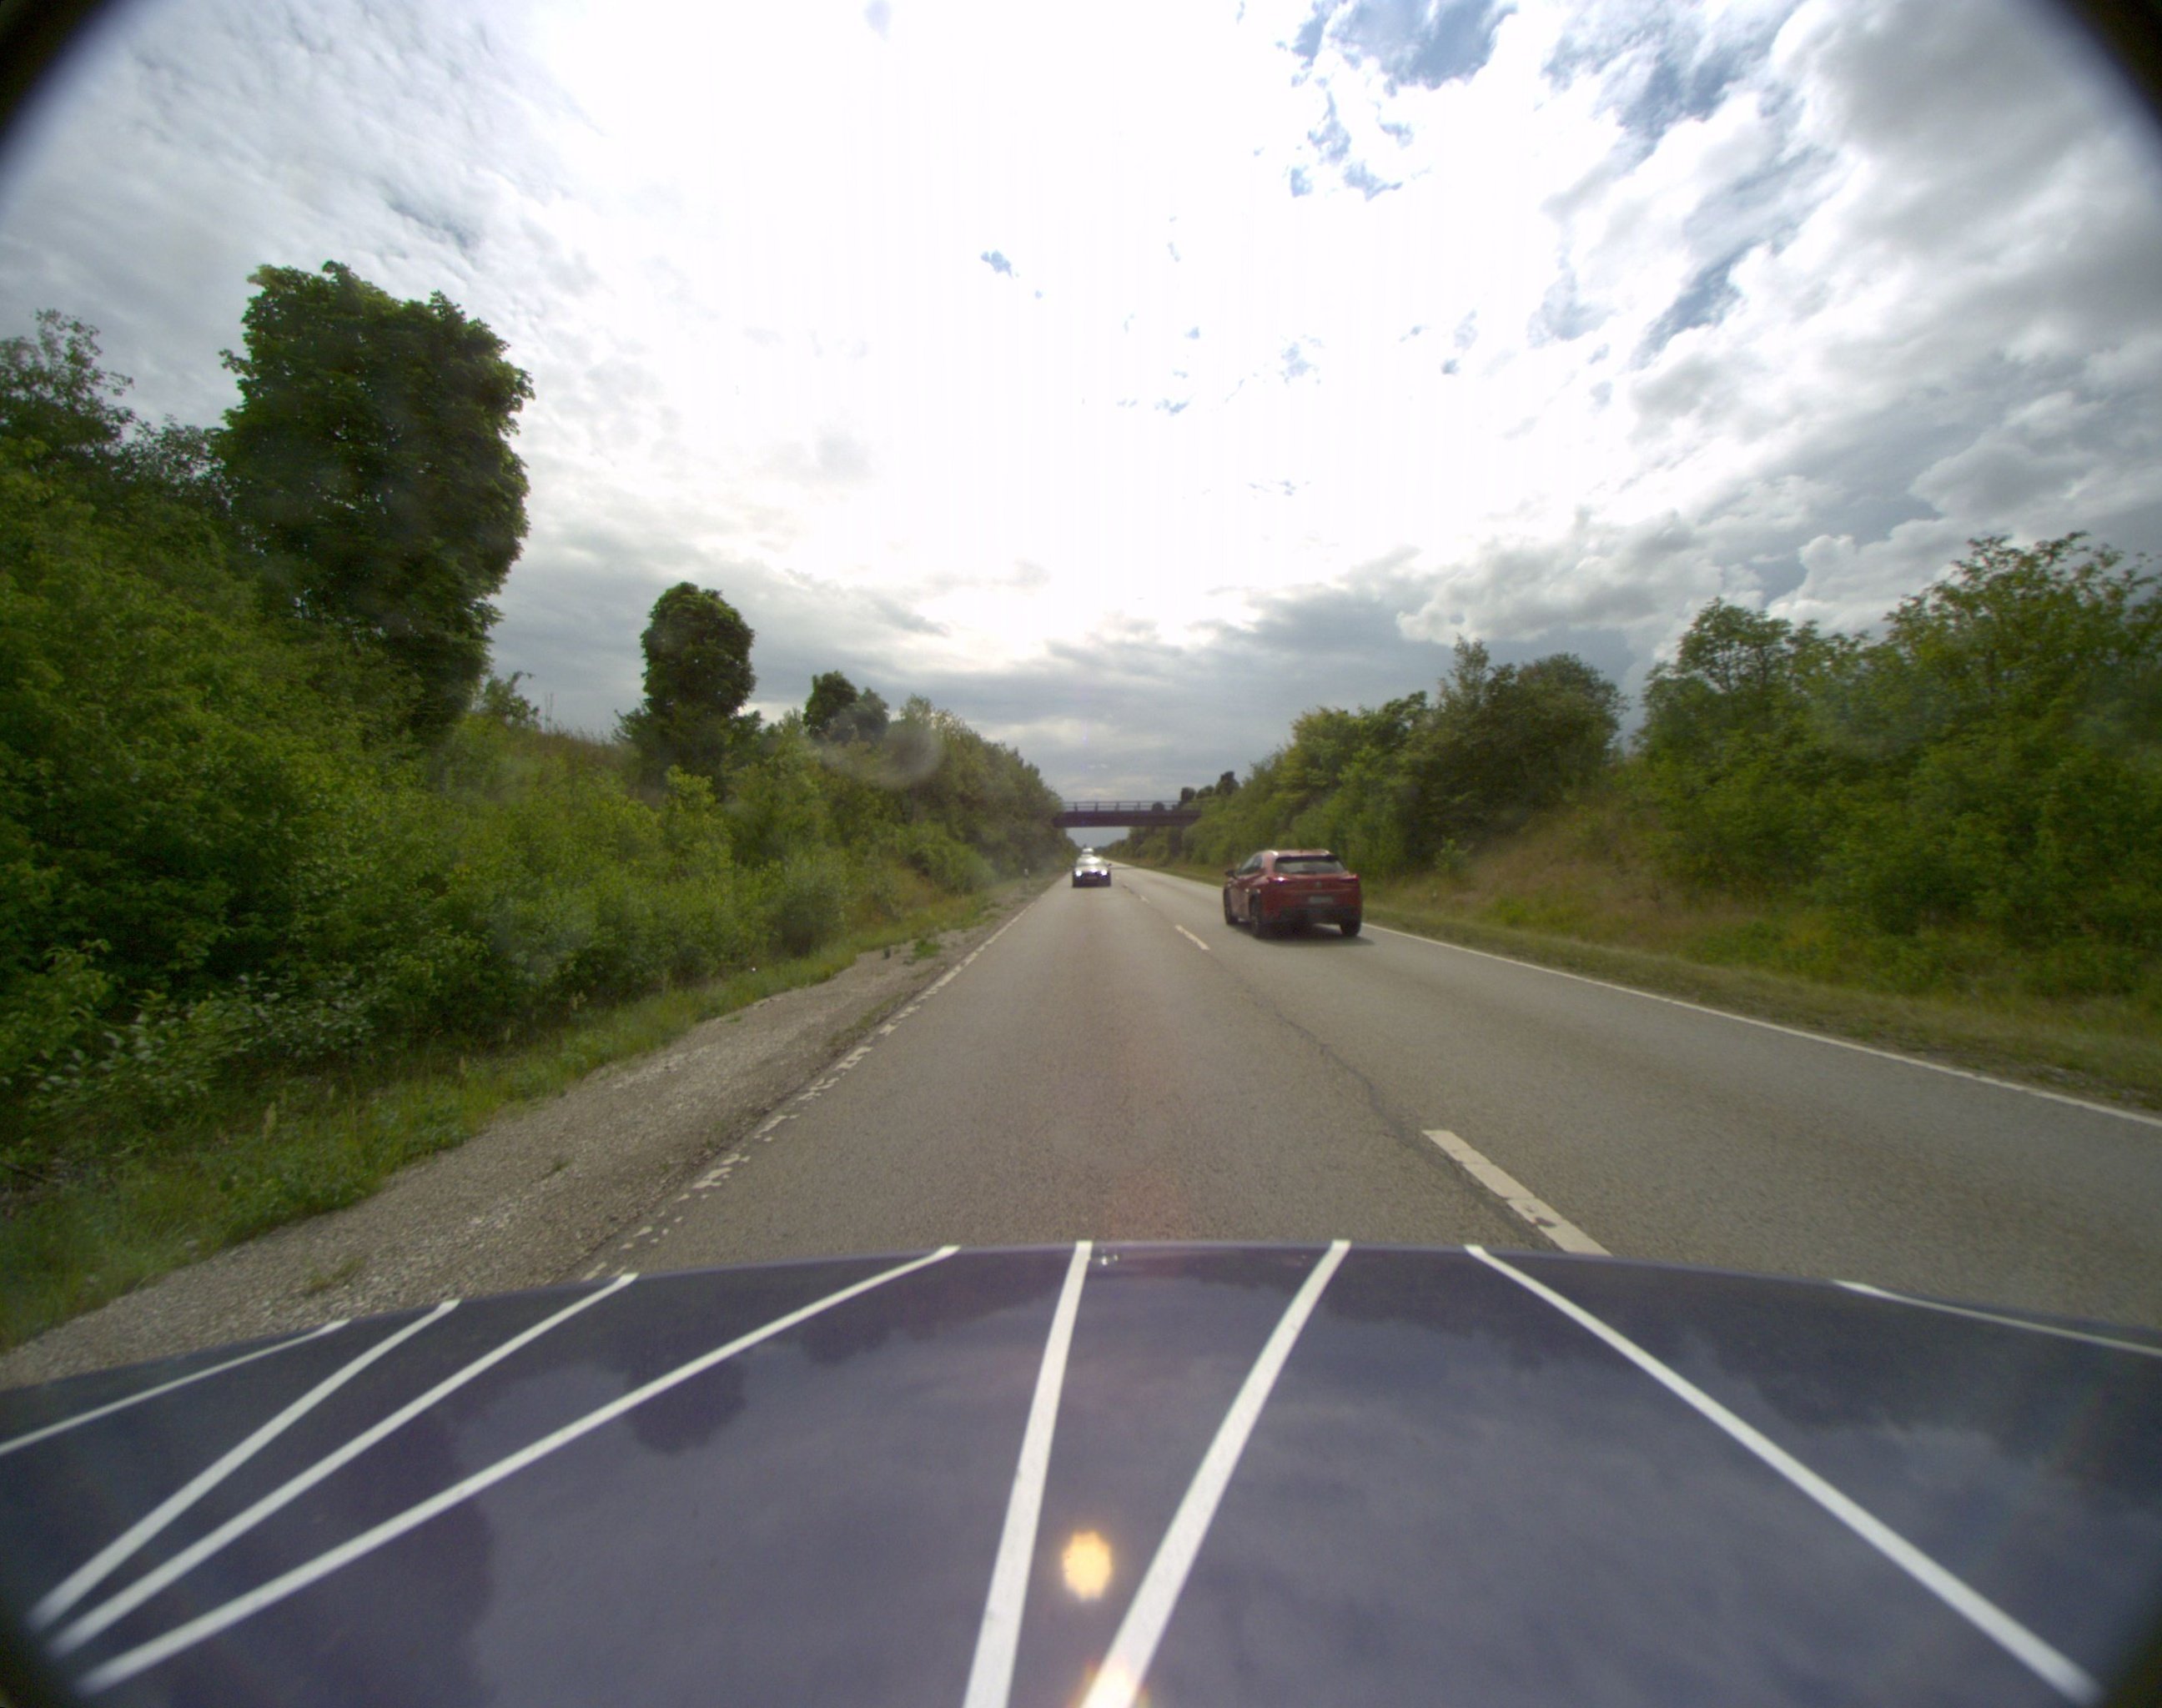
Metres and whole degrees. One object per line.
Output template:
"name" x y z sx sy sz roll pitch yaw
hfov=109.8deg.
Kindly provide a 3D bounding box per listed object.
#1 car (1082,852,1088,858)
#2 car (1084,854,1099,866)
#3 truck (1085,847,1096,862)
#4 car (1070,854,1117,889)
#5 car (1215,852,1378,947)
"car" 1.201 0.353 233.961 1.893 1.637 3.999 -2 0 -1
"car" 1.352 0.774 101.085 1.870 1.597 3.999 -1 1 0
"truck" 1.651 0.025 130.719 1.802 2.518 6.685 -2 1 1
"car" 0.582 0.783 36.145 1.998 1.436 4.640 -2 1 1
"car" 3.811 0.713 14.280 1.833 1.456 4.411 -2 0 1
